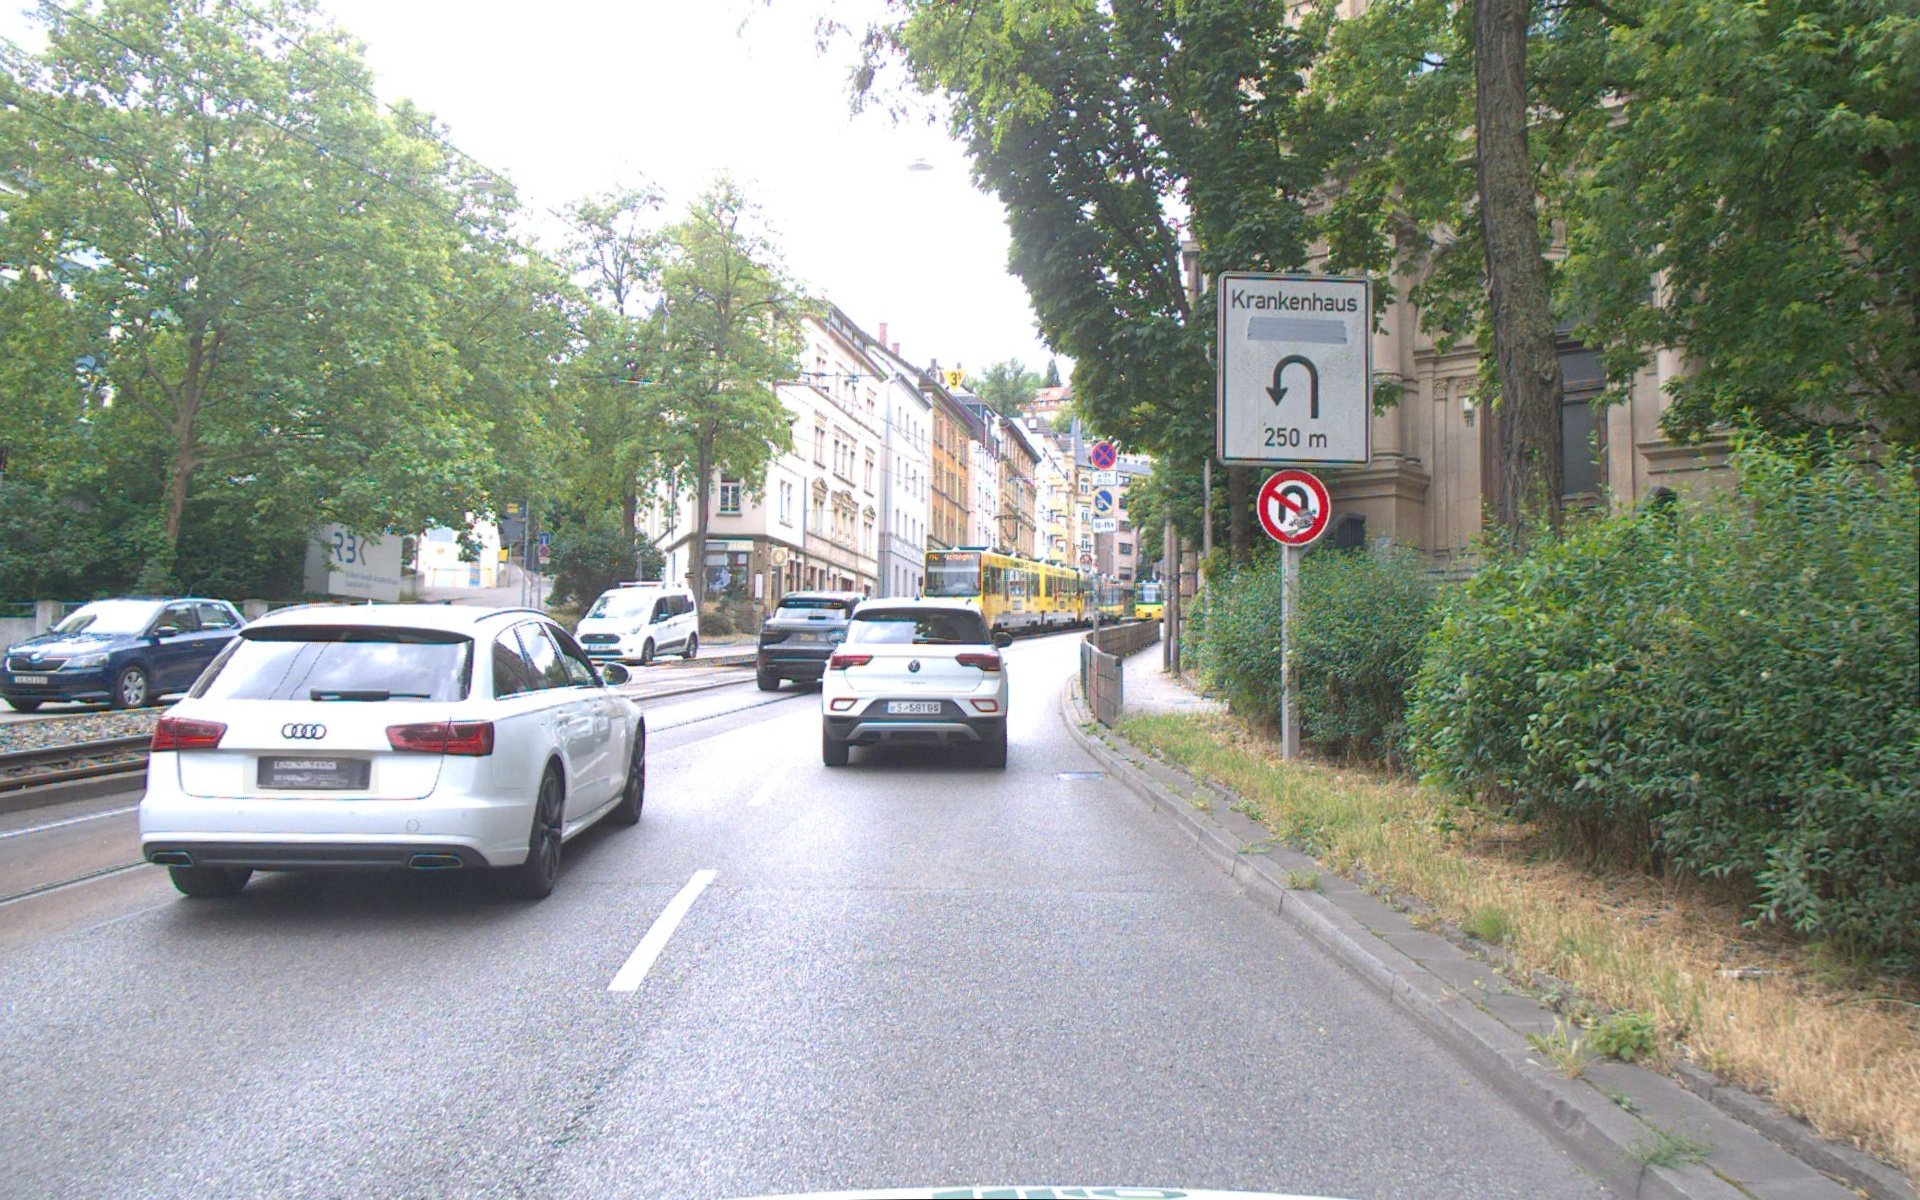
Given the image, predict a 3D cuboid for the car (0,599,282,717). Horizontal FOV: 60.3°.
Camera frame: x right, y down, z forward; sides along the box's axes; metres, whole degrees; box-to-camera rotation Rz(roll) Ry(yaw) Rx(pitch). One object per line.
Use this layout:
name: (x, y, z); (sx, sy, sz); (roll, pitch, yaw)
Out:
car: (-11.016, 0.710, 22.212); (1.729, 1.432, 4.086); (0, 0, 7)

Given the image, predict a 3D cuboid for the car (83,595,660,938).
car: (-2.962, 0.721, 9.485); (1.841, 1.480, 4.615); (0, 0, -3)

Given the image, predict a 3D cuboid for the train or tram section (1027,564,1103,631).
train or tram section: (6.920, -0.088, 106.100); (2.815, 3.791, 18.771); (2, 0, 10)

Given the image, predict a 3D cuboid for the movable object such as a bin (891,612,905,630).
movable object such as a bin: (-3.664, 1.234, 98.114); (0.727, 1.092, 0.607); (0, -1, 10)

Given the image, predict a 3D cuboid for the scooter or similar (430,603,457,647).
scooter or similar: (-15.195, 0.739, 48.680); (0.480, 1.240, 1.638); (3, -1, -10)

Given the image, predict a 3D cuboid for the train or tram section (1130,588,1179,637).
train or tram section: (18.253, 1.172, 153.983); (2.952, 4.288, 18.874); (0, 0, 12)

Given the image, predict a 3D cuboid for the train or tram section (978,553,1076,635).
train or tram section: (3.810, -0.235, 87.616); (2.815, 3.791, 18.718); (2, 0, 9)

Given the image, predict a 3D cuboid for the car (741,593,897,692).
car: (-2.386, 0.703, 29.116); (1.995, 1.599, 4.361); (0, 0, 5)

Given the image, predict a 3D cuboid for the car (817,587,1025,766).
car: (-0.420, 0.688, 16.669); (1.841, 1.582, 3.998); (0, 0, -2)

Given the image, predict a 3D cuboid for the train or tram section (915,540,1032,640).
train or tram section: (0.840, -0.352, 71.096); (2.821, 3.791, 14.868); (2, 0, 9)

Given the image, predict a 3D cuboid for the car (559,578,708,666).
car: (-7.793, 0.493, 40.015); (1.906, 1.980, 5.007); (0, 0, 9)
